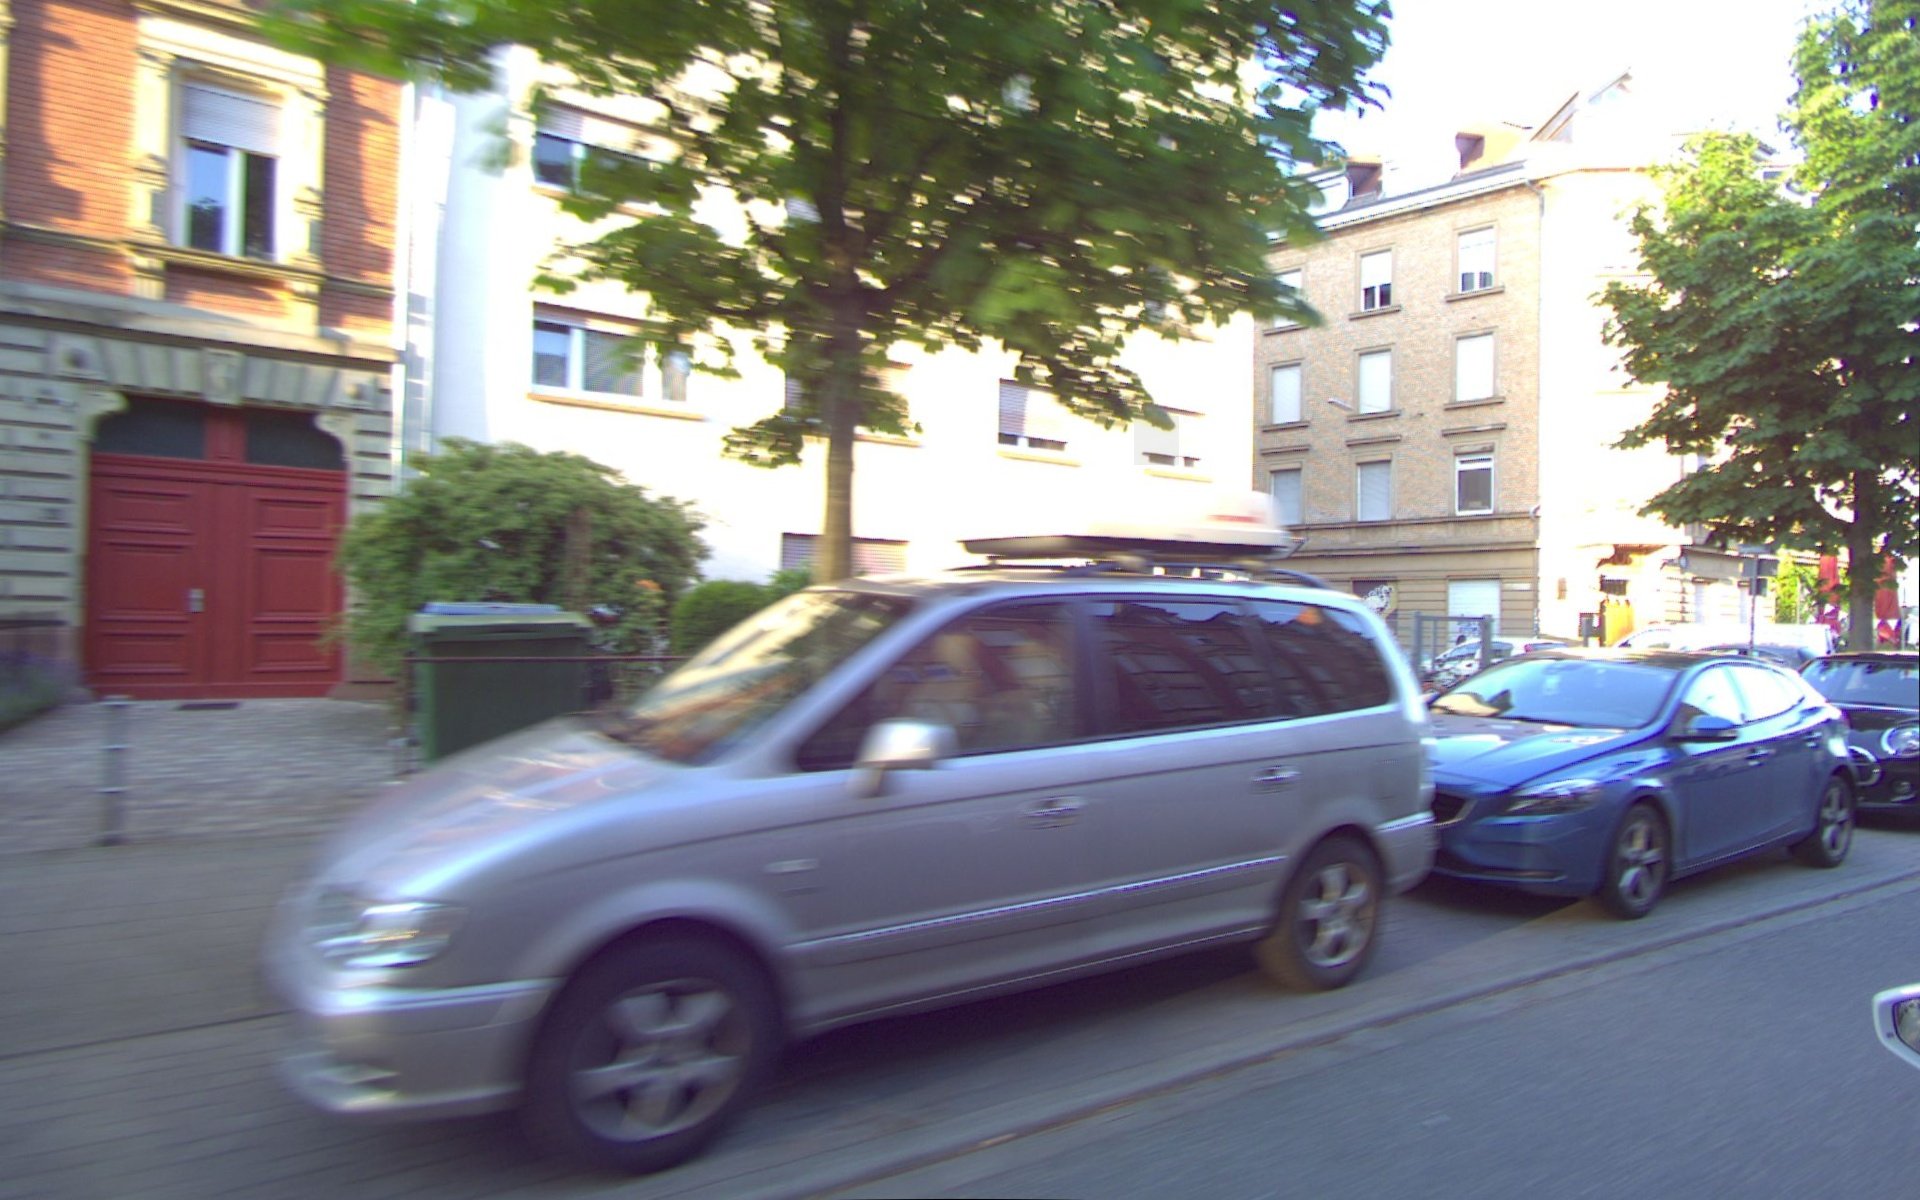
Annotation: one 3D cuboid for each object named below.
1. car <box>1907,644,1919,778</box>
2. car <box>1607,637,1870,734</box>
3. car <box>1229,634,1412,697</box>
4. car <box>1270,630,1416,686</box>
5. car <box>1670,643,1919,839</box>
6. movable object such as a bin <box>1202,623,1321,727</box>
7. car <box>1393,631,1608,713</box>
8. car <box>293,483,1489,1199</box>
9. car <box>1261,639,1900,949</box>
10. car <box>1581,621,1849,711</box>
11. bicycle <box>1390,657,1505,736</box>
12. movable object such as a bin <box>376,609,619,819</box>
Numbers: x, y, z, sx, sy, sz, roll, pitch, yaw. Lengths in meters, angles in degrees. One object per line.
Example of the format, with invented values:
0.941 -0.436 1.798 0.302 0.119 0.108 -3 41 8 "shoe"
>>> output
12.898 1.295 11.705 4.414 1.481 1.665 2 -1 -32 "car"
14.463 1.505 18.839 1.823 1.528 3.489 1 -1 -30 "car"
9.286 1.625 26.040 4.023 1.458 1.987 -1 -2 44 "car"
11.868 1.754 31.182 3.855 1.592 2.016 -1 -1 36 "car"
8.719 1.169 9.413 4.091 1.439 1.735 2 -1 -28 "car"
4.267 1.040 14.219 1.381 1.370 0.863 2 0 -29 "movable object such as a bin"
11.996 1.555 22.609 1.942 1.528 4.057 2 0 -17 "car"
0.011 0.708 4.233 4.571 1.802 1.852 2 -1 -31 "car"
4.336 1.026 6.815 4.539 1.431 1.852 2 -1 -31 "car"
18.814 1.554 25.318 5.211 2.001 2.200 0 -1 38 "car"
7.155 1.385 14.703 1.913 1.039 0.682 2 0 -36 "bicycle"
-3.517 0.800 7.649 1.535 1.406 0.940 2 0 -34 "movable object such as a bin"
